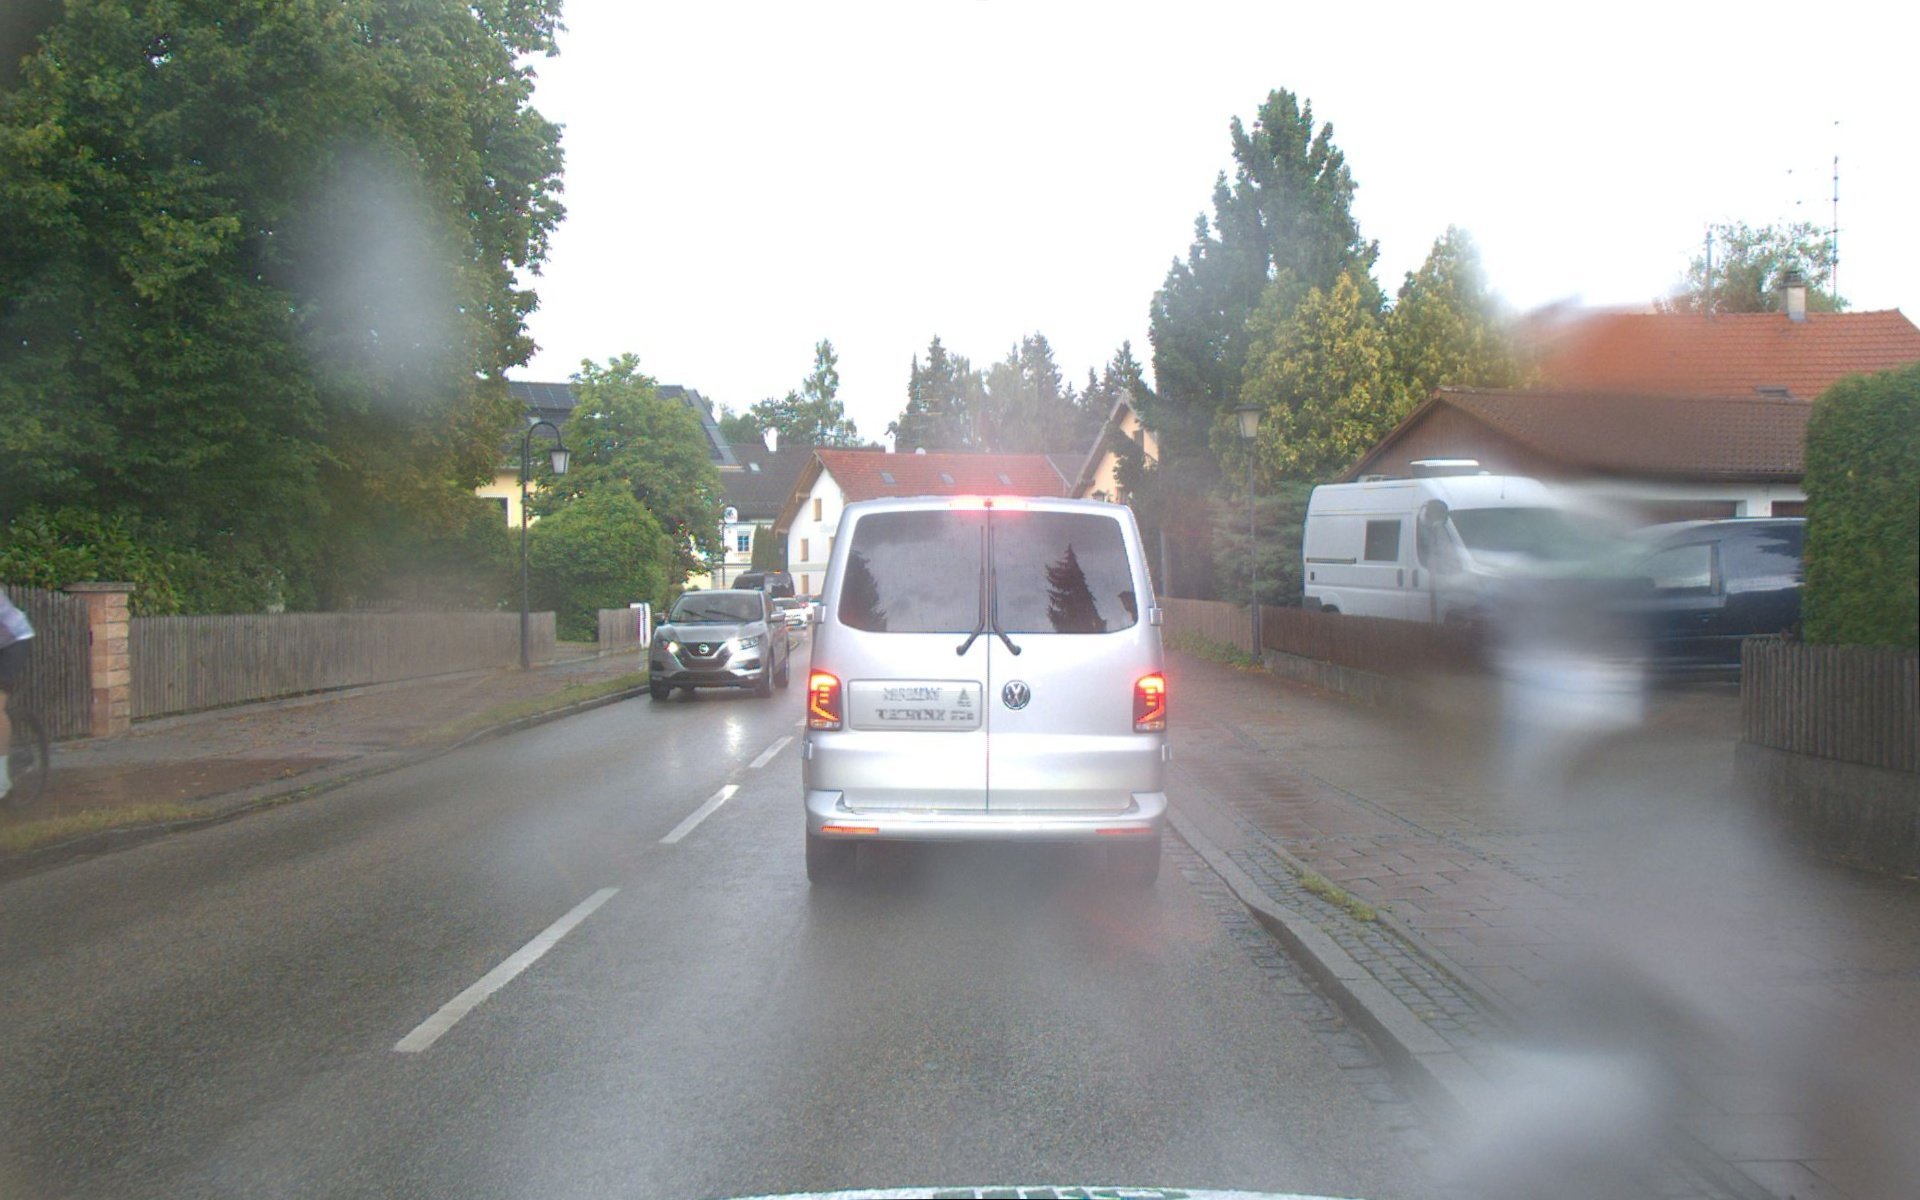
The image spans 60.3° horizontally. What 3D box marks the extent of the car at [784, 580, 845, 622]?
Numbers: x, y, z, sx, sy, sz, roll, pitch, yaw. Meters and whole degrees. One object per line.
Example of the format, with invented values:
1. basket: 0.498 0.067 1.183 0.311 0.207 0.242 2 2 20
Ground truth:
1. car: -7.546 0.062 85.401 1.967 2.049 3.971 2 -1 -23

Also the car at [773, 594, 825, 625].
1. car: -7.384 0.444 75.810 1.751 1.333 3.760 2 -1 -15

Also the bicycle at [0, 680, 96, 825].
1. bicycle: -5.985 0.940 10.059 0.447 0.812 1.977 0 0 -1

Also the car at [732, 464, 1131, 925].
1. car: -0.064 0.446 9.498 1.763 2.049 4.001 1 -1 2

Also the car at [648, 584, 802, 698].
1. car: -3.511 0.594 25.396 1.790 1.586 4.176 -1 -1 -1

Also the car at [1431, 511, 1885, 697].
1. car: 7.121 -0.001 17.114 4.012 1.782 1.693 -1 2 -4

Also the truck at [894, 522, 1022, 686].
1. truck: -0.081 0.114 35.383 2.425 3.128 6.294 1 -1 -1

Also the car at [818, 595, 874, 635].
1. car: -4.055 0.534 59.418 1.744 1.333 3.775 1 -1 -1

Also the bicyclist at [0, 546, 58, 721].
1. bicyclist: -5.984 0.196 9.915 0.575 1.039 1.060 0 0 -1

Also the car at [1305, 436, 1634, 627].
1. car: 6.611 -0.793 22.153 1.960 2.211 4.935 1 -1 -14

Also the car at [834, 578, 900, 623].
1. car: -4.467 0.031 78.762 1.965 2.049 3.974 2 -1 -22
